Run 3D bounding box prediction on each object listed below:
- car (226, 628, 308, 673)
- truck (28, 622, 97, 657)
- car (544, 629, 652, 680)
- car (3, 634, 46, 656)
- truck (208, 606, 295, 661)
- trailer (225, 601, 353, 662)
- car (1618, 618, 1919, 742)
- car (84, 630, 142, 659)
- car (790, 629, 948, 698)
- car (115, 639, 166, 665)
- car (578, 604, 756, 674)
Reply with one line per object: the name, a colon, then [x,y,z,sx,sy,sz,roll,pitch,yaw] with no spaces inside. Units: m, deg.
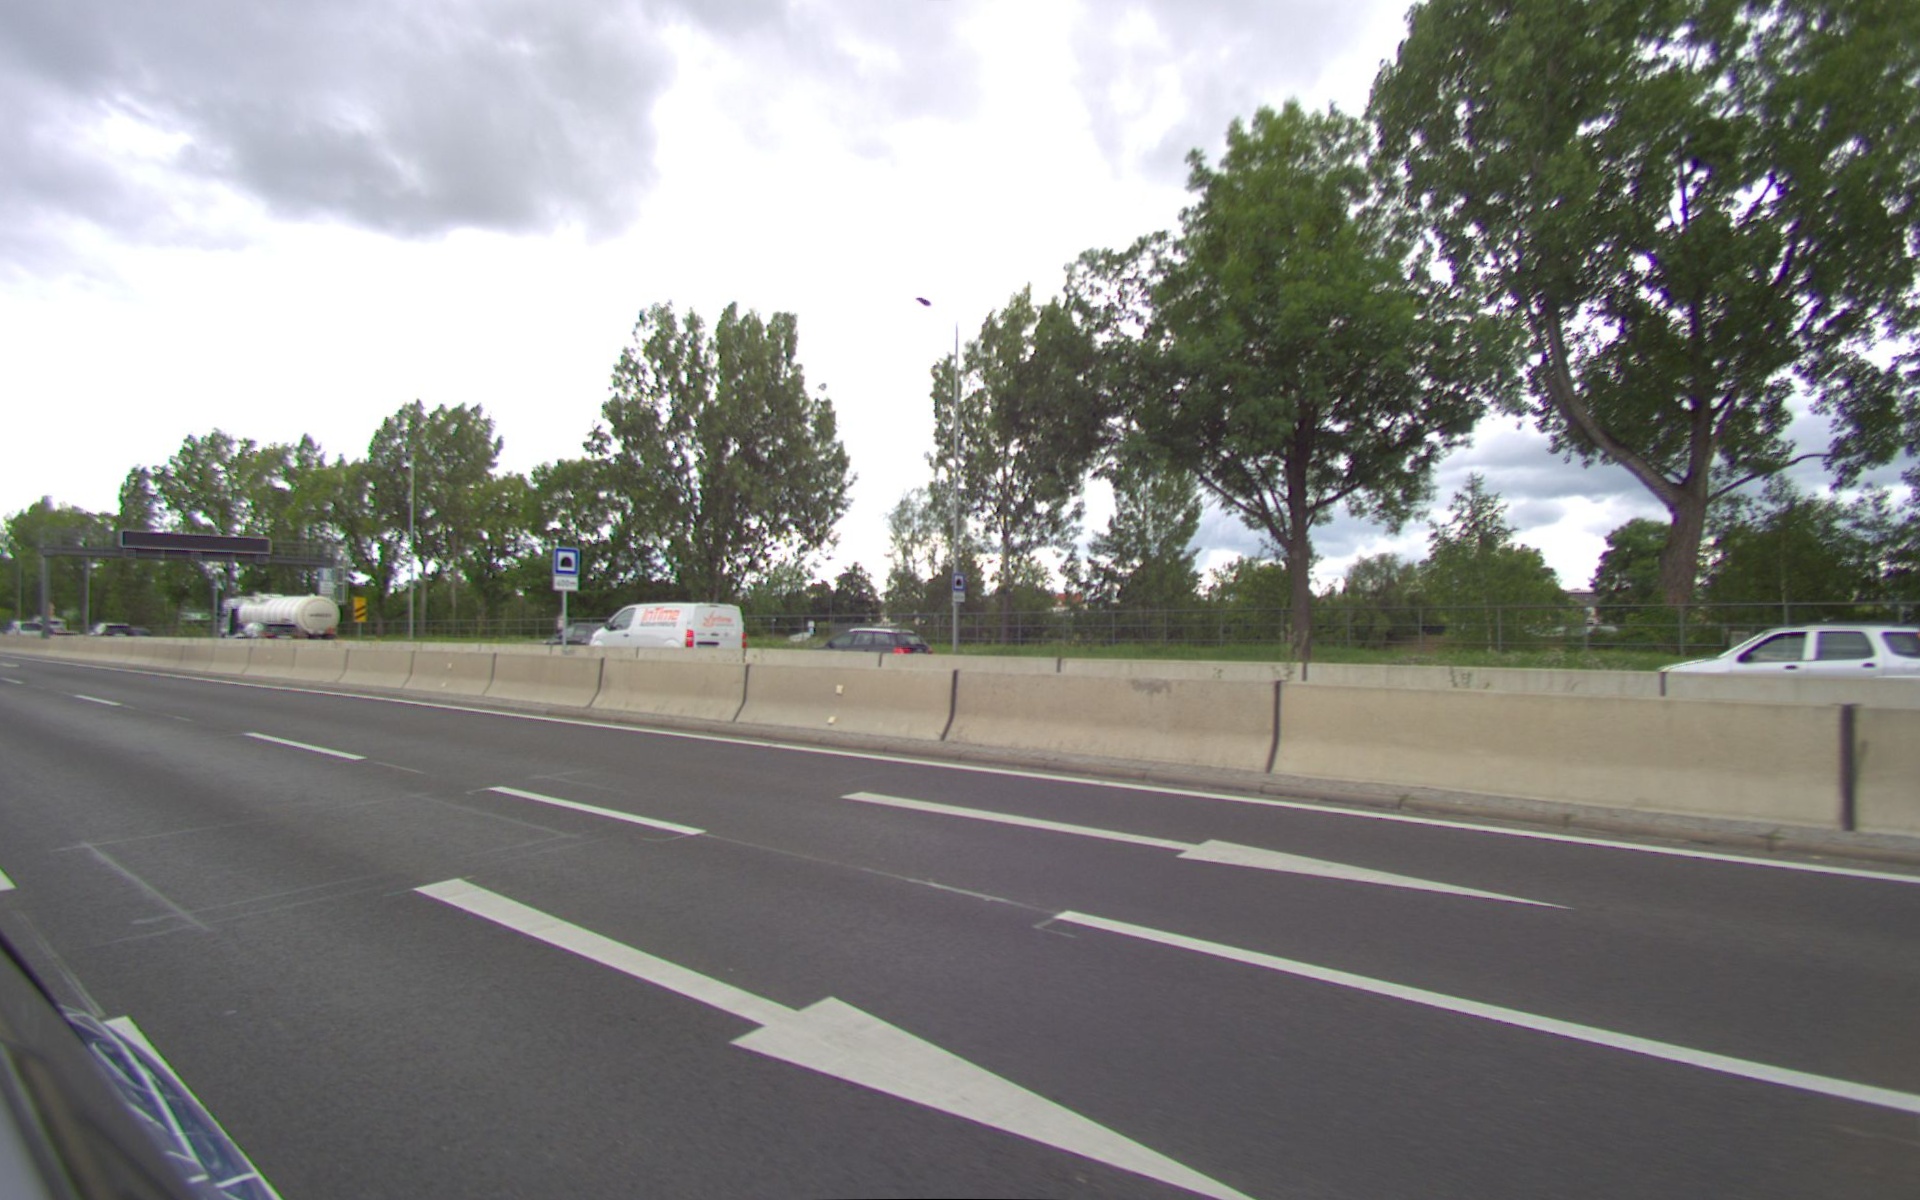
car: [-29.980,2.169,43.728,3.998,1.752,1.973,-3,-1,41]
truck: [-89.547,3.998,100.810,15.871,3.130,2.825,-3,-1,40]
car: [-13.814,2.062,38.497,4.301,1.752,1.973,-3,0,41]
car: [-73.387,3.537,79.353,4.694,1.630,1.973,-3,0,41]
truck: [-45.110,2.132,64.431,5.384,3.243,3.068,-3,-1,38]
trailer: [-40.213,1.929,60.382,11.656,3.244,3.070,-3,-1,40]
car: [13.055,1.205,16.073,4.119,1.695,1.859,-3,-1,41]
car: [-52.247,2.739,62.394,4.694,1.630,1.973,-3,0,41]
car: [-2.687,1.784,29.243,4.467,1.752,1.973,-3,0,41]
car: [-56.990,3.613,70.371,4.694,1.630,1.973,-3,0,41]
car: [-7.564,0.993,25.855,4.882,1.571,1.973,-3,0,40]
